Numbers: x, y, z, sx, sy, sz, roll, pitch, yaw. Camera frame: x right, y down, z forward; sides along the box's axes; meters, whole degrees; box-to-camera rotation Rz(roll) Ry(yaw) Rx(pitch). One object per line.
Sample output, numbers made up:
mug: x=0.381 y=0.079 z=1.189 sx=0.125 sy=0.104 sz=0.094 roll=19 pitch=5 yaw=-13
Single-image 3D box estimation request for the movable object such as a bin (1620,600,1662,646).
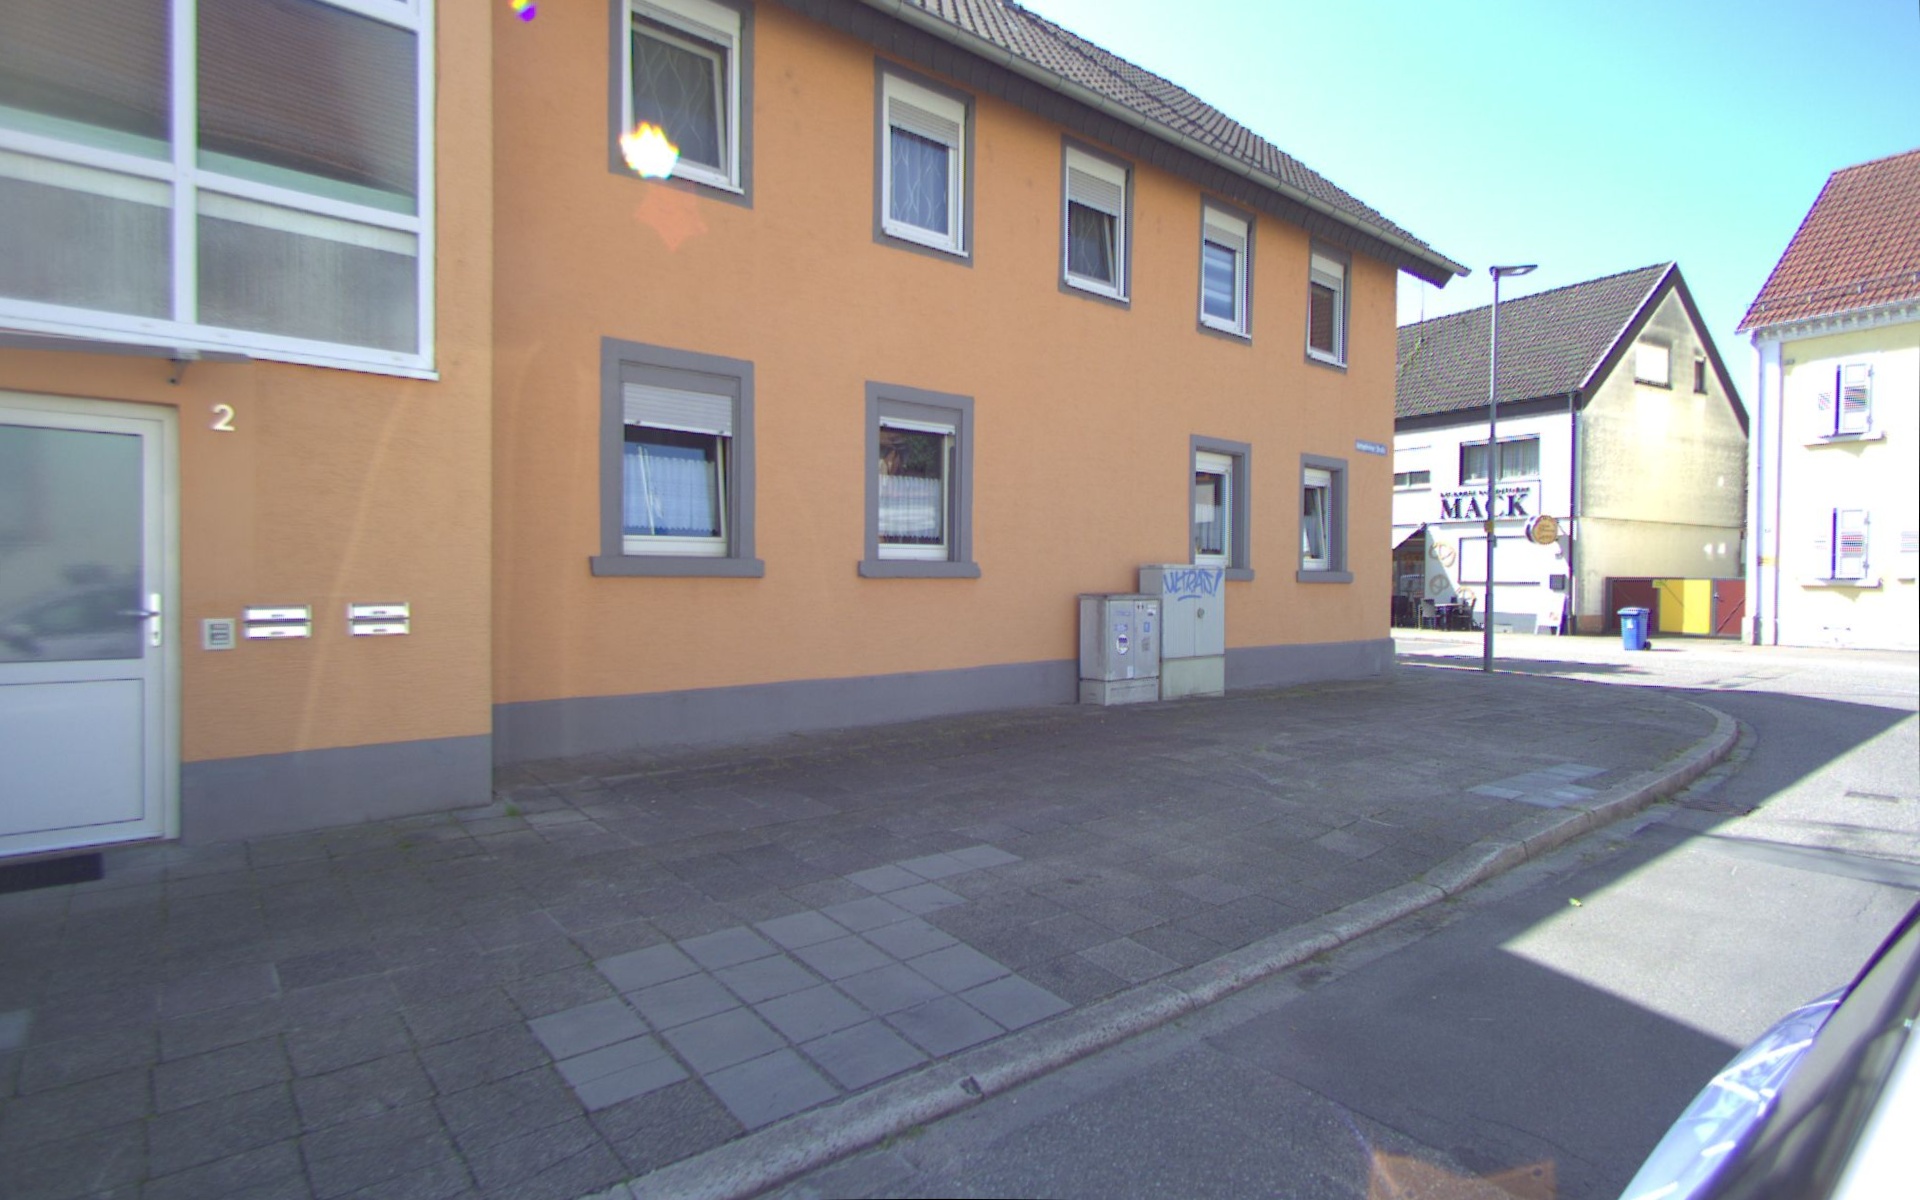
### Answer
movable object such as a bin: x=15.363 y=0.512 z=22.825 sx=0.633 sy=0.993 sz=0.613 roll=-1 pitch=1 yaw=-37
